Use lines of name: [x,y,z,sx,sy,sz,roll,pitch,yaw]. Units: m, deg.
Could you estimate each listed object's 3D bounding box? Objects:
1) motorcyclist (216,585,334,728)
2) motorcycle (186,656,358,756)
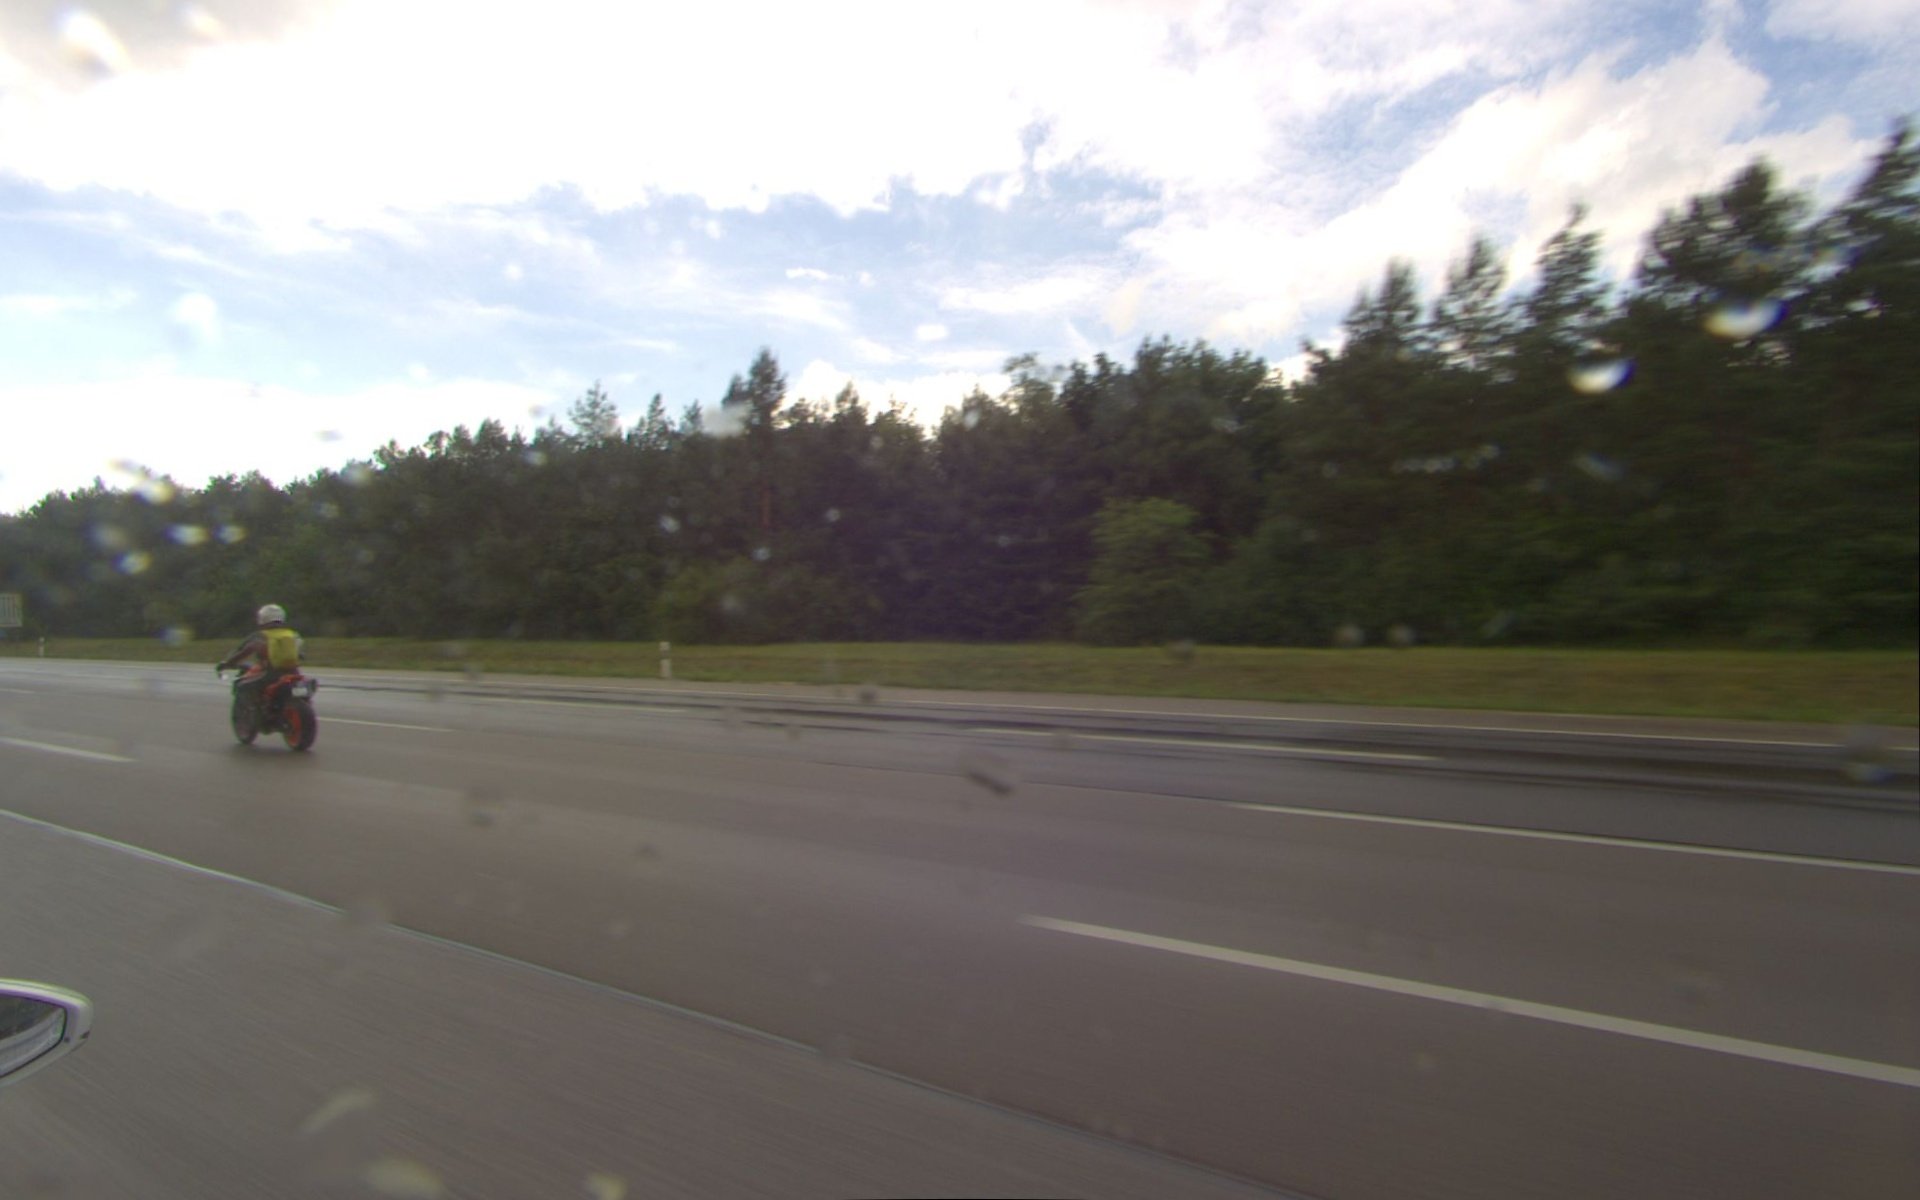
motorcyclist: [-8.263,0.656,12.081,0.945,1.635,0.889,0,-1,33]
motorcycle: [-8.381,1.244,12.182,2.143,1.045,0.997,-1,-1,33]
